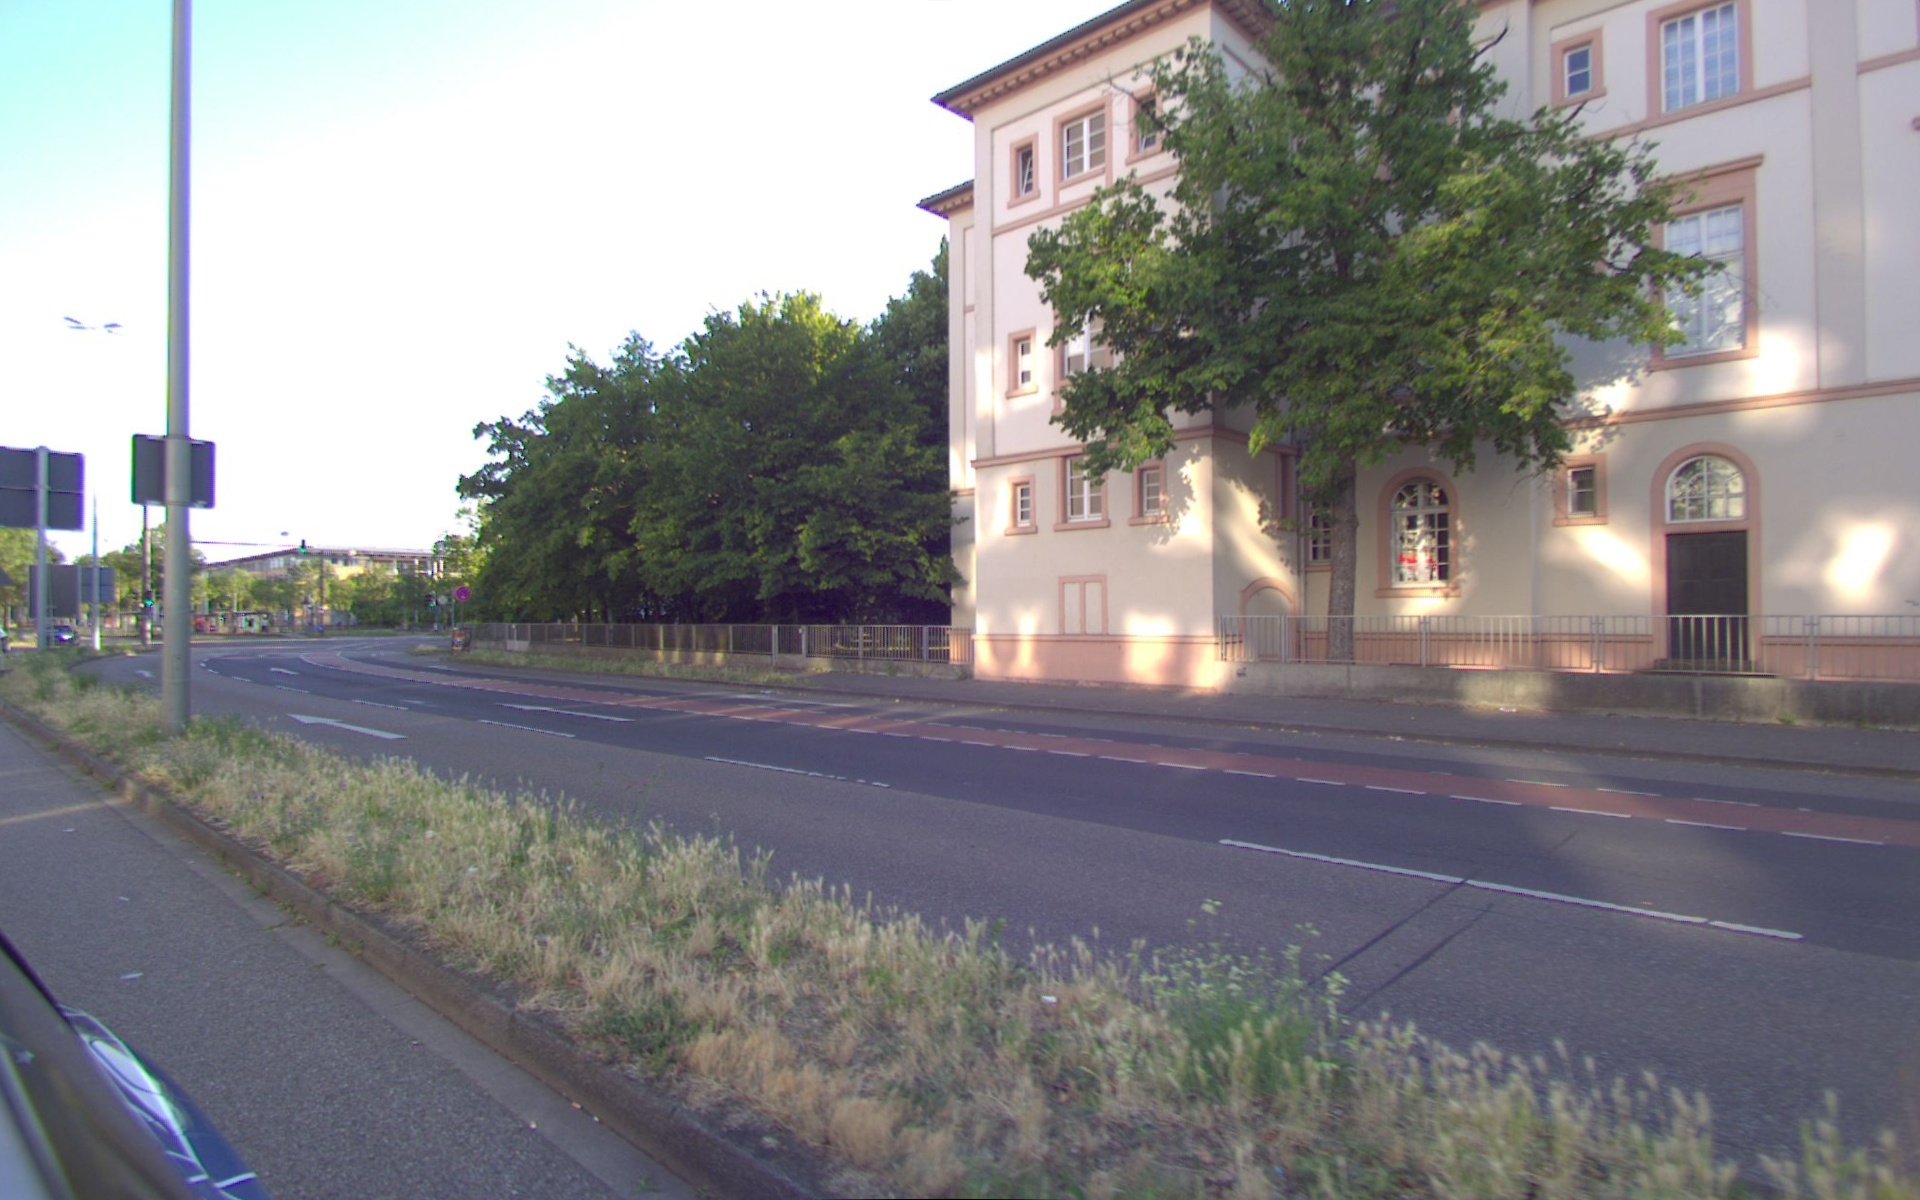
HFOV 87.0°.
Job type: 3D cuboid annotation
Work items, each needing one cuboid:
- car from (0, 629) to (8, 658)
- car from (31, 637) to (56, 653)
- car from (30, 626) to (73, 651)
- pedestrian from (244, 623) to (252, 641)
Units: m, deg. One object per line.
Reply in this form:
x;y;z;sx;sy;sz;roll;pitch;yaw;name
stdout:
-49.247;2.236;50.658;1.559;1.460;3.883;-1;0;-32;car
-92.803;4.521;102.487;1.649;1.429;4.448;-1;0;-40;car
-57.319;2.400;63.903;1.705;1.460;4.054;-1;0;-38;car
-80.940;3.621;115.078;0.664;2.029;0.549;-2;-2;42;pedestrian
